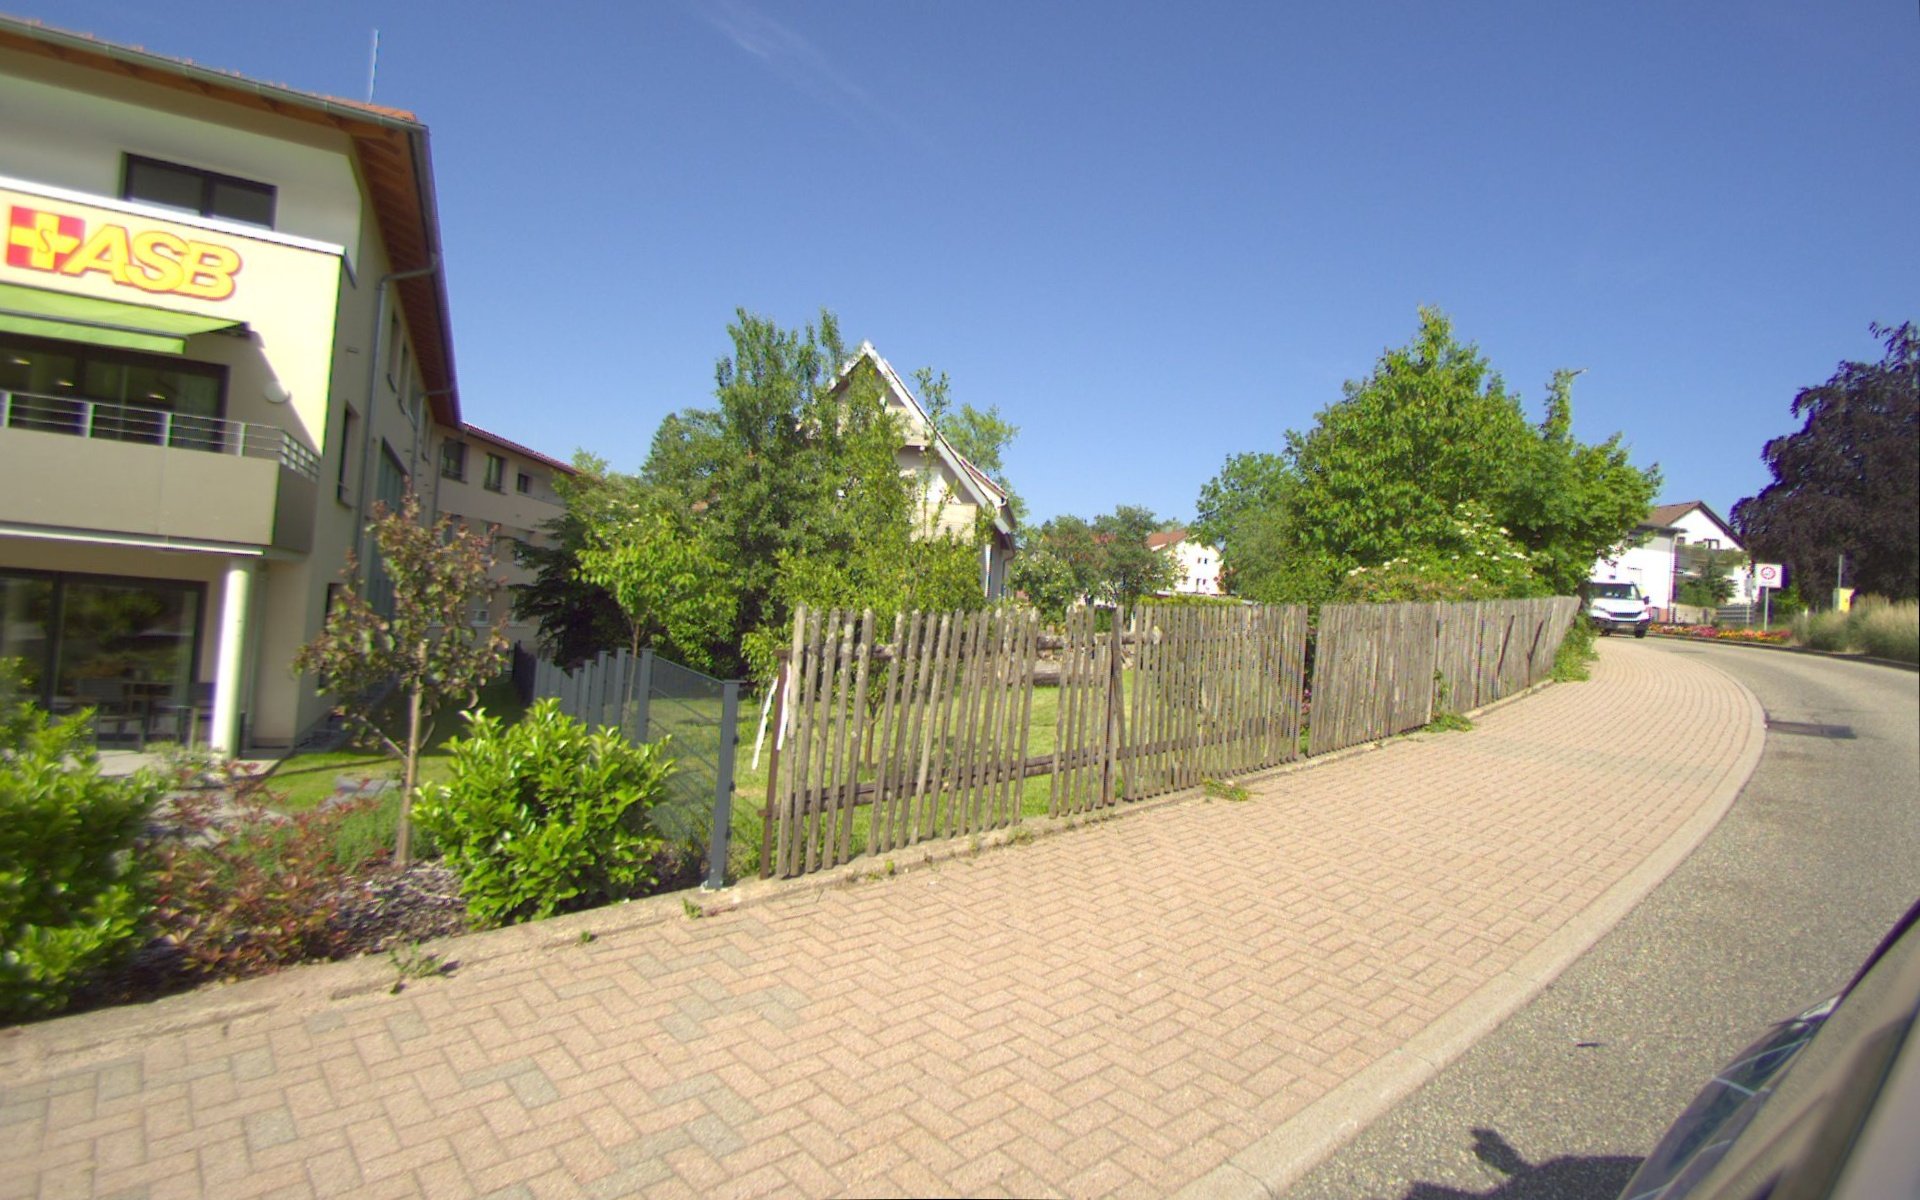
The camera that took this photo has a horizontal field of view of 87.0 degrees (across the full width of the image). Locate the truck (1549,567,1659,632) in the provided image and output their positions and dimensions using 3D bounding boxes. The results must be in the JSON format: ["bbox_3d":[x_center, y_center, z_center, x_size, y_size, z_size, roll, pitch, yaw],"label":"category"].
[{"bbox_3d":[25.599,0.067,40.506,1.973,2.372,6.456,-1,-2,17],"label":"truck"}]
